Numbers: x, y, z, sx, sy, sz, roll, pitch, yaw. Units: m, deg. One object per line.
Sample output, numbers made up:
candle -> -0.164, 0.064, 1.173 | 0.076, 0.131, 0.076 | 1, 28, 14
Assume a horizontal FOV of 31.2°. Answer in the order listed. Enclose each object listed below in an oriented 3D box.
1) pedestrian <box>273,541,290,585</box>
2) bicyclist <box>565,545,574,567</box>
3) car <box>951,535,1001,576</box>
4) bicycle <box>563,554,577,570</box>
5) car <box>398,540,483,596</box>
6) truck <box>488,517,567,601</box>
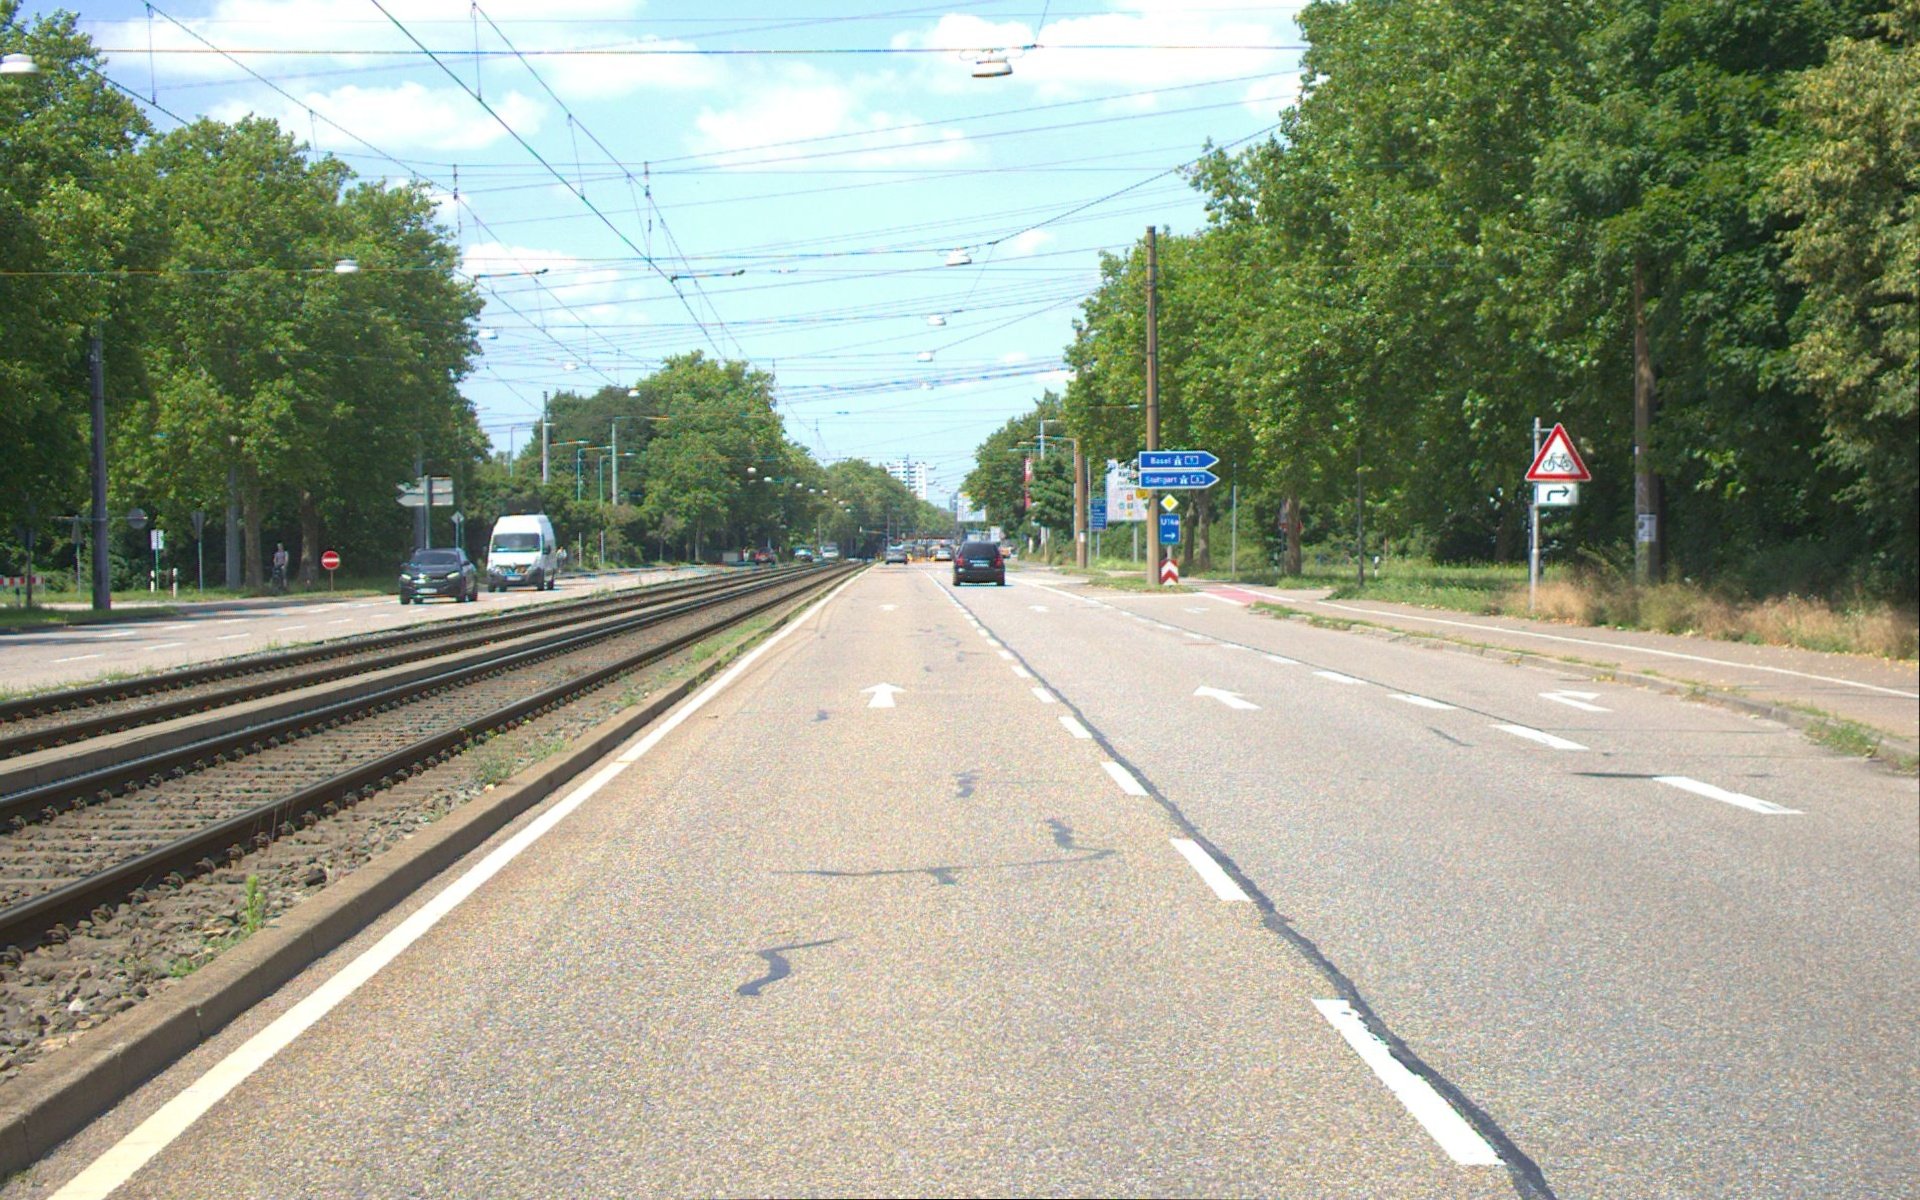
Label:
pedestrian -> -24.073, -1.325, 121.981 | 0.513, 1.546, 0.704 | -2, 1, -6
bicyclist -> -22.935, -2.603, 201.920 | 0.454, 1.268, 0.398 | -1, 1, 2
car -> 0.552, -1.575, 120.618 | 1.586, 1.338, 3.273 | -1, 2, -2
bicycle -> -22.913, -2.239, 201.998 | 0.515, 0.854, 1.931 | -2, 1, 2
car -> -14.960, -0.936, 99.167 | 1.817, 1.509, 4.428 | -2, 1, -1
truck -> -15.657, -1.516, 124.639 | 2.054, 2.929, 6.320 | -2, 1, -1
